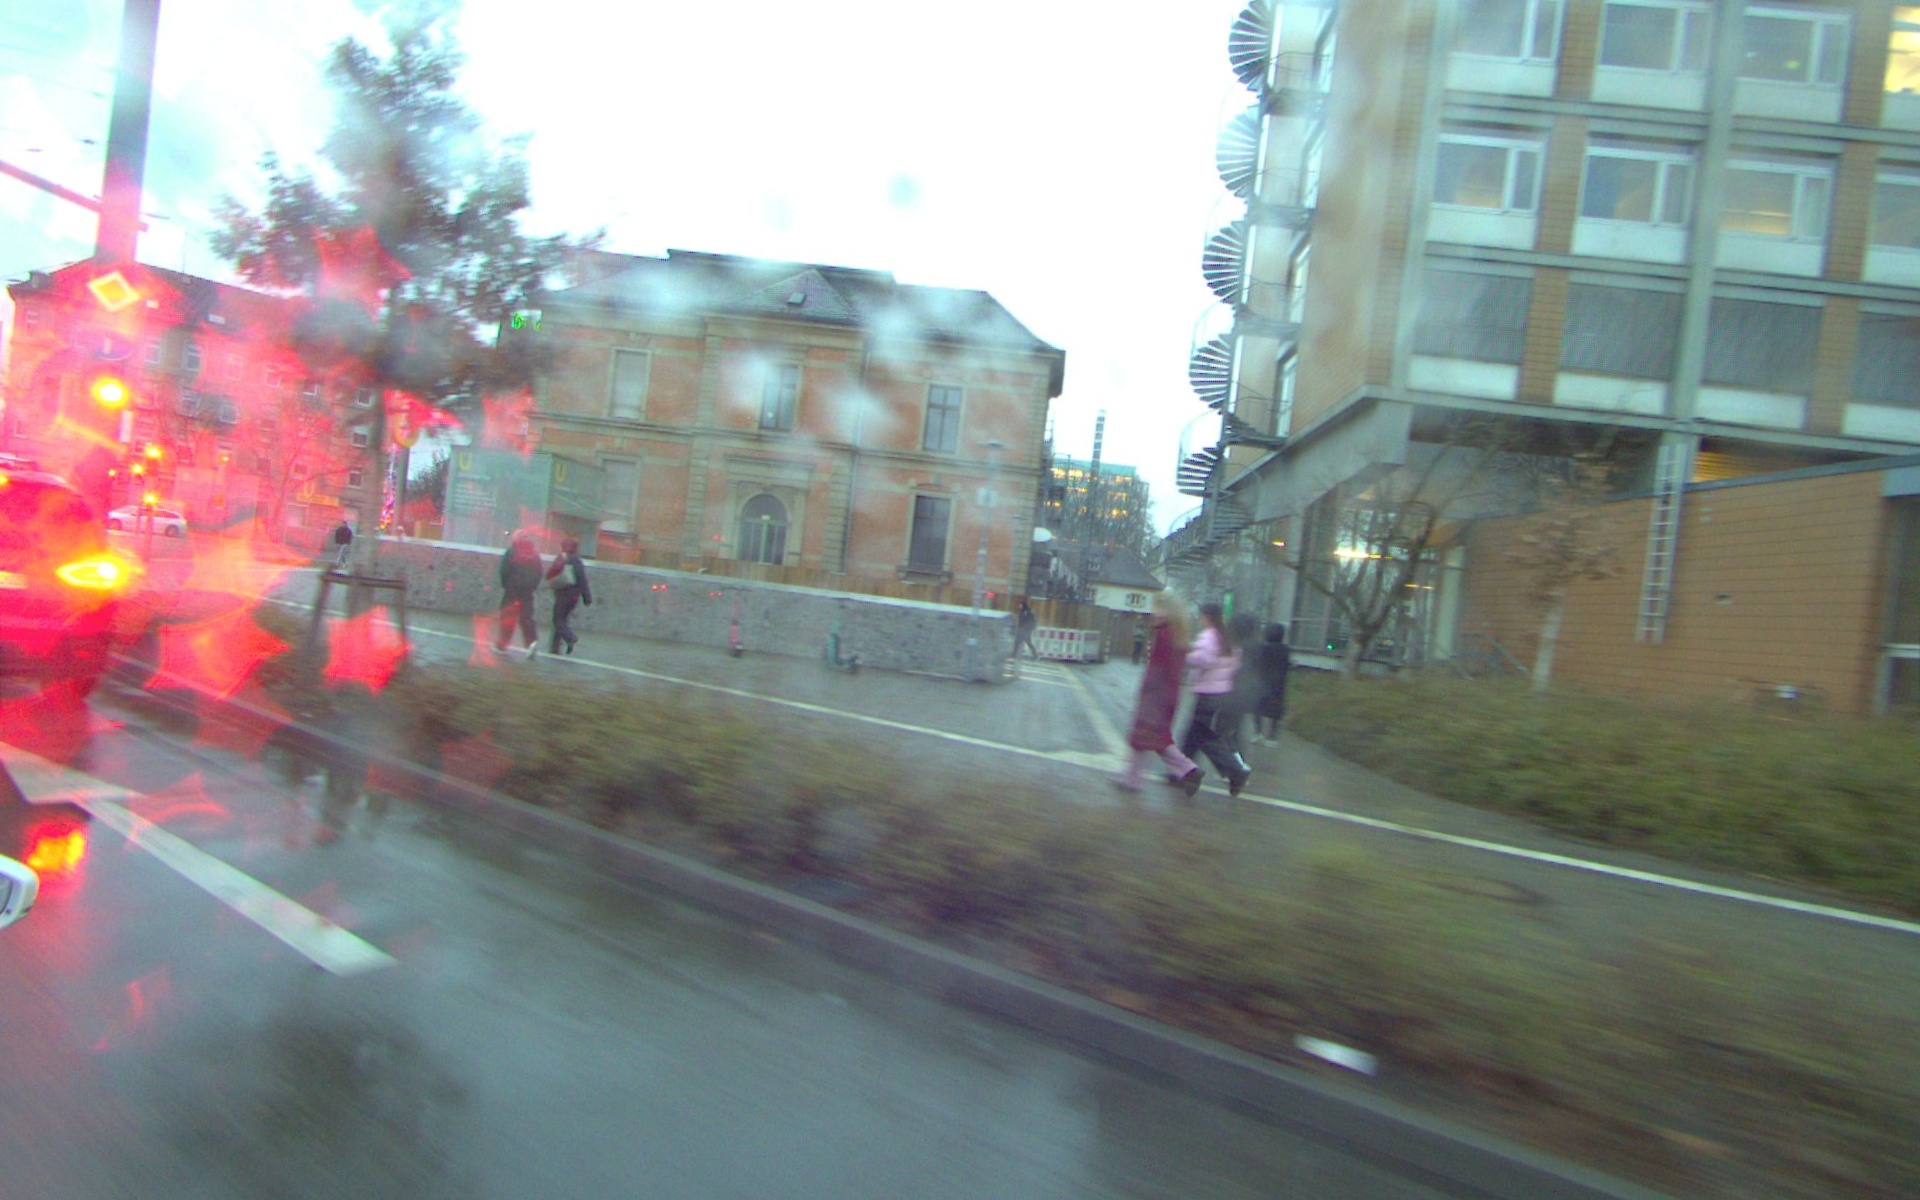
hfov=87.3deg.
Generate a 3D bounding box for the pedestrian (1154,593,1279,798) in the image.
[{"bbox_3d":[2.286,0.838,8.983,0.662,1.710,0.606,4,4,-33],"label":"pedestrian"}]

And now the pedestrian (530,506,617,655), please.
[{"bbox_3d":[-5.682,-0.296,14.771,0.802,2.038,0.753,8,2,-33],"label":"pedestrian"}]

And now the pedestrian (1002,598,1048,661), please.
[{"bbox_3d":[1.904,0.857,29.496,0.907,1.726,0.796,6,1,-29],"label":"pedestrian"}]

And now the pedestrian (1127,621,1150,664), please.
[{"bbox_3d":[7.231,1.721,40.788,0.651,1.678,0.789,6,1,5],"label":"pedestrian"}]

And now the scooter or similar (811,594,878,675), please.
[{"bbox_3d":[-1.992,0.570,17.168,0.508,1.229,1.372,6,0,-30],"label":"scooter or similar"}]

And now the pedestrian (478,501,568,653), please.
[{"bbox_3d":[-6.056,-0.324,13.942,0.802,1.954,0.753,8,2,-33],"label":"pedestrian"}]

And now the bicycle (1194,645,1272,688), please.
[{"bbox_3d":[8.002,1.943,29.540,2.021,1.004,0.708,7,1,7],"label":"bicycle"}]

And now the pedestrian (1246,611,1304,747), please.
[{"bbox_3d":[4.413,1.099,14.132,0.549,1.813,0.584,6,1,14],"label":"pedestrian"}]

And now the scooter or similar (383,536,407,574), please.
[{"bbox_3d":[-21.427,-1.713,38.163,0.670,1.334,0.821,6,1,-28],"label":"scooter or similar"}]

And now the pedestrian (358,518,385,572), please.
[{"bbox_3d":[-22.450,-2.094,38.391,0.670,1.974,0.657,6,1,-29],"label":"pedestrian"}]

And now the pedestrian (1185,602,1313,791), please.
[{"bbox_3d":[2.808,0.930,9.795,0.713,1.709,0.753,6,1,-34],"label":"pedestrian"}]

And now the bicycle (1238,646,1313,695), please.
[{"bbox_3d":[8.471,1.886,27.022,1.761,1.116,0.401,6,1,7],"label":"bicycle"}]

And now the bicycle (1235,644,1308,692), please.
[{"bbox_3d":[8.550,1.864,27.661,1.761,1.116,0.442,6,1,7],"label":"bicycle"}]

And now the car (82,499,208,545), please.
[{"bbox_3d":[-41.995,-3.970,51.991,1.708,1.677,4.815,6,-1,19],"label":"car"}]

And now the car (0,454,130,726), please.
[{"bbox_3d":[-8.359,-0.303,7.752,4.354,1.822,1.779,7,-1,35],"label":"car"}]

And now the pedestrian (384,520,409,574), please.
[{"bbox_3d":[-21.745,-2.048,38.816,0.670,1.974,0.657,6,1,-28],"label":"pedestrian"}]

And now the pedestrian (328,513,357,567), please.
[{"bbox_3d":[-23.532,-2.274,38.330,0.669,1.974,0.673,6,1,-21],"label":"pedestrian"}]

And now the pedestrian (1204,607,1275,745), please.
[{"bbox_3d":[3.932,1.051,14.205,0.735,1.813,0.854,6,1,14],"label":"pedestrian"}]

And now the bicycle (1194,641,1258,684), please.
[{"bbox_3d":[8.109,1.895,30.651,1.764,1.116,0.390,6,1,-6],"label":"bicycle"}]

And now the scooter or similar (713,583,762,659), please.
[{"bbox_3d":[-3.935,0.356,17.765,0.507,1.229,1.376,6,0,-22],"label":"scooter or similar"}]

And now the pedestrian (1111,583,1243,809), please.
[{"bbox_3d":[1.839,0.795,8.586,0.579,1.804,0.762,4,2,-33],"label":"pedestrian"}]
